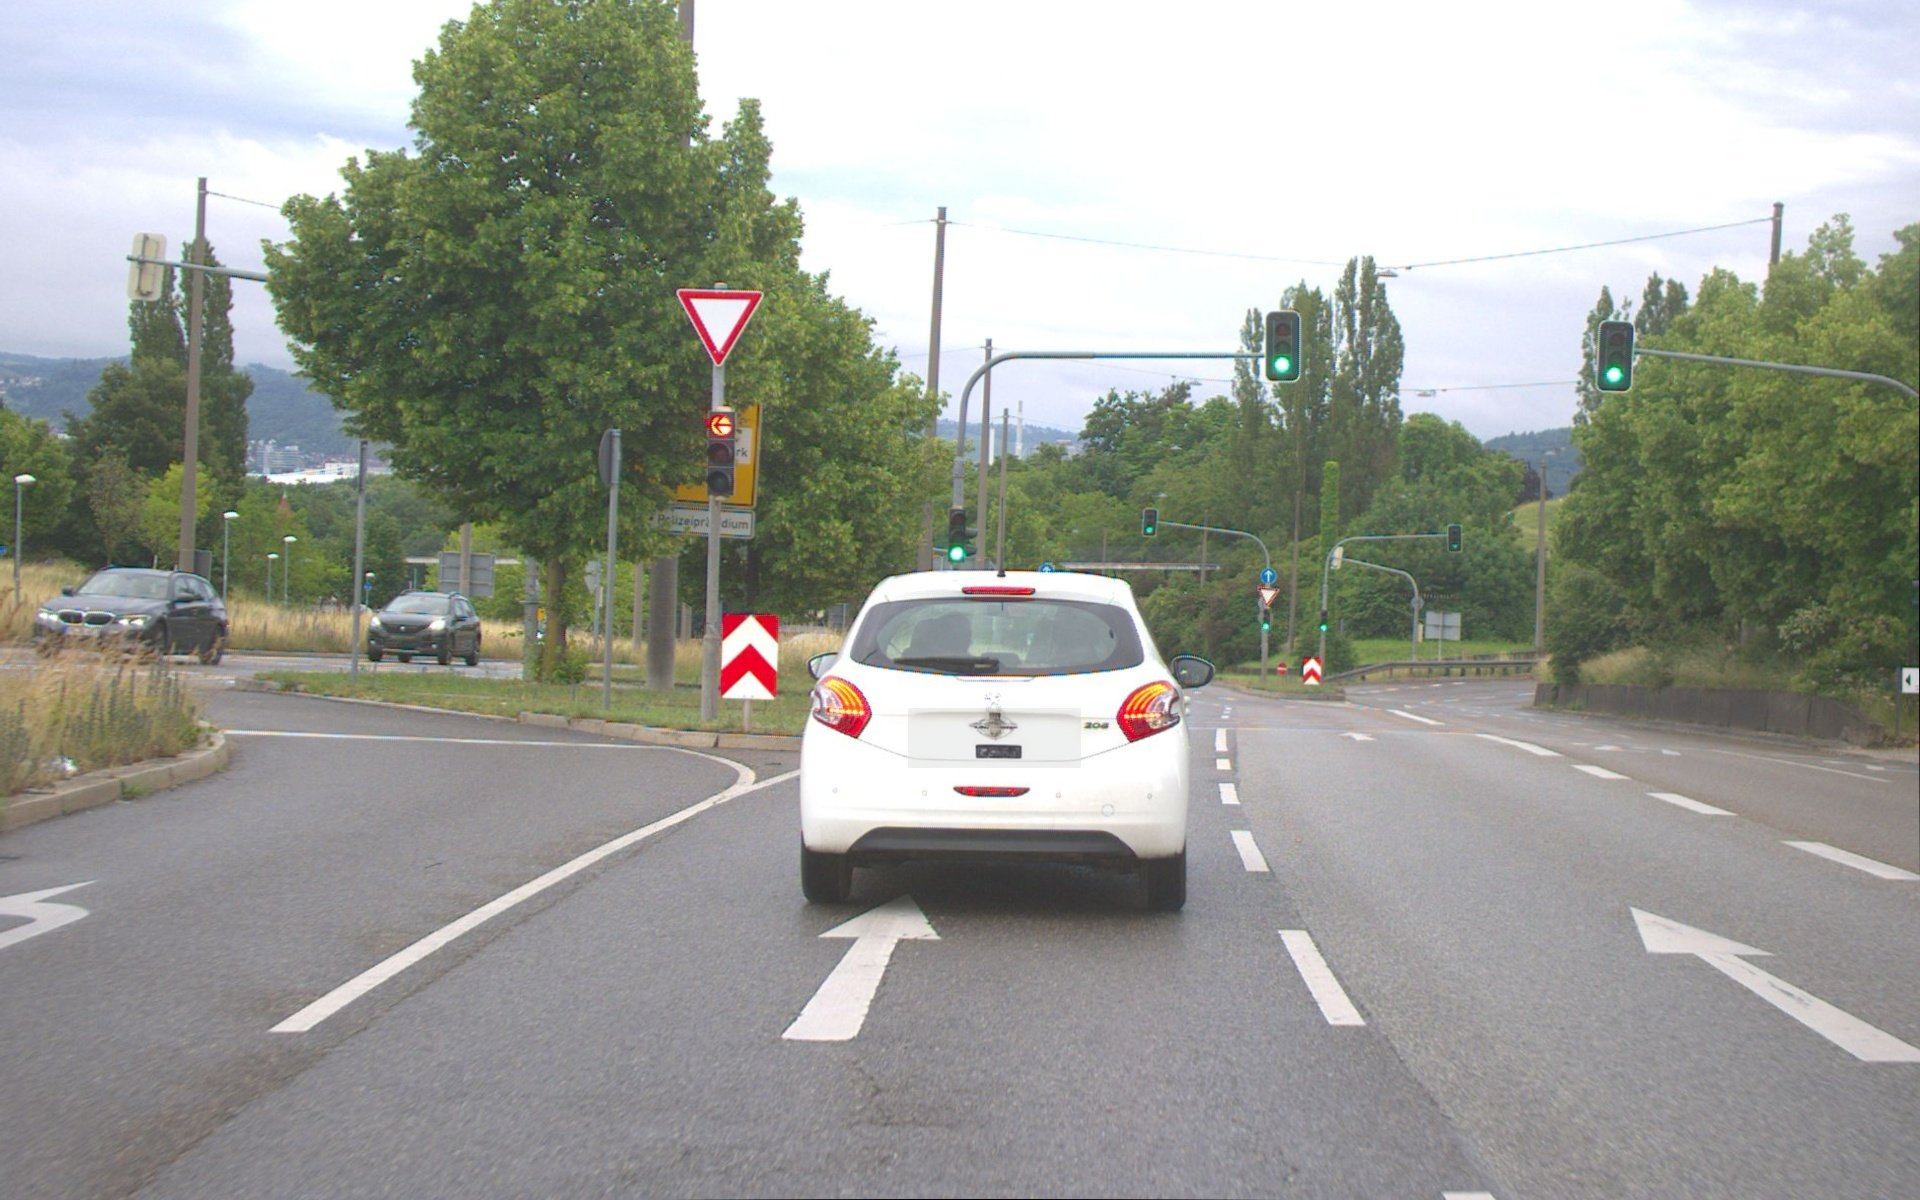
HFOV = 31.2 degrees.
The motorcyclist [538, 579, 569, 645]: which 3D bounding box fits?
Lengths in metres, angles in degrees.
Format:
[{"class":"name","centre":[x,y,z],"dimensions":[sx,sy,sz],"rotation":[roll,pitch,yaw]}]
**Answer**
[{"class":"motorcyclist","centre":[-10.017,0.296,84.768],"dimensions":[0.582,1.590,0.643],"rotation":[2,1,4]}]

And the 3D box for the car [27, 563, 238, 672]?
[{"class":"car","centre":[-12.452,0.268,52.007],"dimensions":[1.751,1.498,4.463],"rotation":[2,0,4]}]

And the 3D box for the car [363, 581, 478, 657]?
[{"class":"car","centre":[-11.372,0.416,72.661],"dimensions":[1.538,1.499,3.661],"rotation":[2,-1,4]}]

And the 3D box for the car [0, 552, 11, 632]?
[{"class":"car","centre":[-18.393,-0.205,61.175],"dimensions":[1.651,1.458,3.773],"rotation":[2,-1,4]}]

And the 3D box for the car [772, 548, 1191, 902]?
[{"class":"car","centre":[0.210,0.520,16.059],"dimensions":[1.709,1.435,3.690],"rotation":[1,0,4]}]

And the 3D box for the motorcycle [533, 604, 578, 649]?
[{"class":"motorcycle","centre":[-10.015,0.645,85.189],"dimensions":[0.617,1.046,2.502],"rotation":[2,1,4]}]
